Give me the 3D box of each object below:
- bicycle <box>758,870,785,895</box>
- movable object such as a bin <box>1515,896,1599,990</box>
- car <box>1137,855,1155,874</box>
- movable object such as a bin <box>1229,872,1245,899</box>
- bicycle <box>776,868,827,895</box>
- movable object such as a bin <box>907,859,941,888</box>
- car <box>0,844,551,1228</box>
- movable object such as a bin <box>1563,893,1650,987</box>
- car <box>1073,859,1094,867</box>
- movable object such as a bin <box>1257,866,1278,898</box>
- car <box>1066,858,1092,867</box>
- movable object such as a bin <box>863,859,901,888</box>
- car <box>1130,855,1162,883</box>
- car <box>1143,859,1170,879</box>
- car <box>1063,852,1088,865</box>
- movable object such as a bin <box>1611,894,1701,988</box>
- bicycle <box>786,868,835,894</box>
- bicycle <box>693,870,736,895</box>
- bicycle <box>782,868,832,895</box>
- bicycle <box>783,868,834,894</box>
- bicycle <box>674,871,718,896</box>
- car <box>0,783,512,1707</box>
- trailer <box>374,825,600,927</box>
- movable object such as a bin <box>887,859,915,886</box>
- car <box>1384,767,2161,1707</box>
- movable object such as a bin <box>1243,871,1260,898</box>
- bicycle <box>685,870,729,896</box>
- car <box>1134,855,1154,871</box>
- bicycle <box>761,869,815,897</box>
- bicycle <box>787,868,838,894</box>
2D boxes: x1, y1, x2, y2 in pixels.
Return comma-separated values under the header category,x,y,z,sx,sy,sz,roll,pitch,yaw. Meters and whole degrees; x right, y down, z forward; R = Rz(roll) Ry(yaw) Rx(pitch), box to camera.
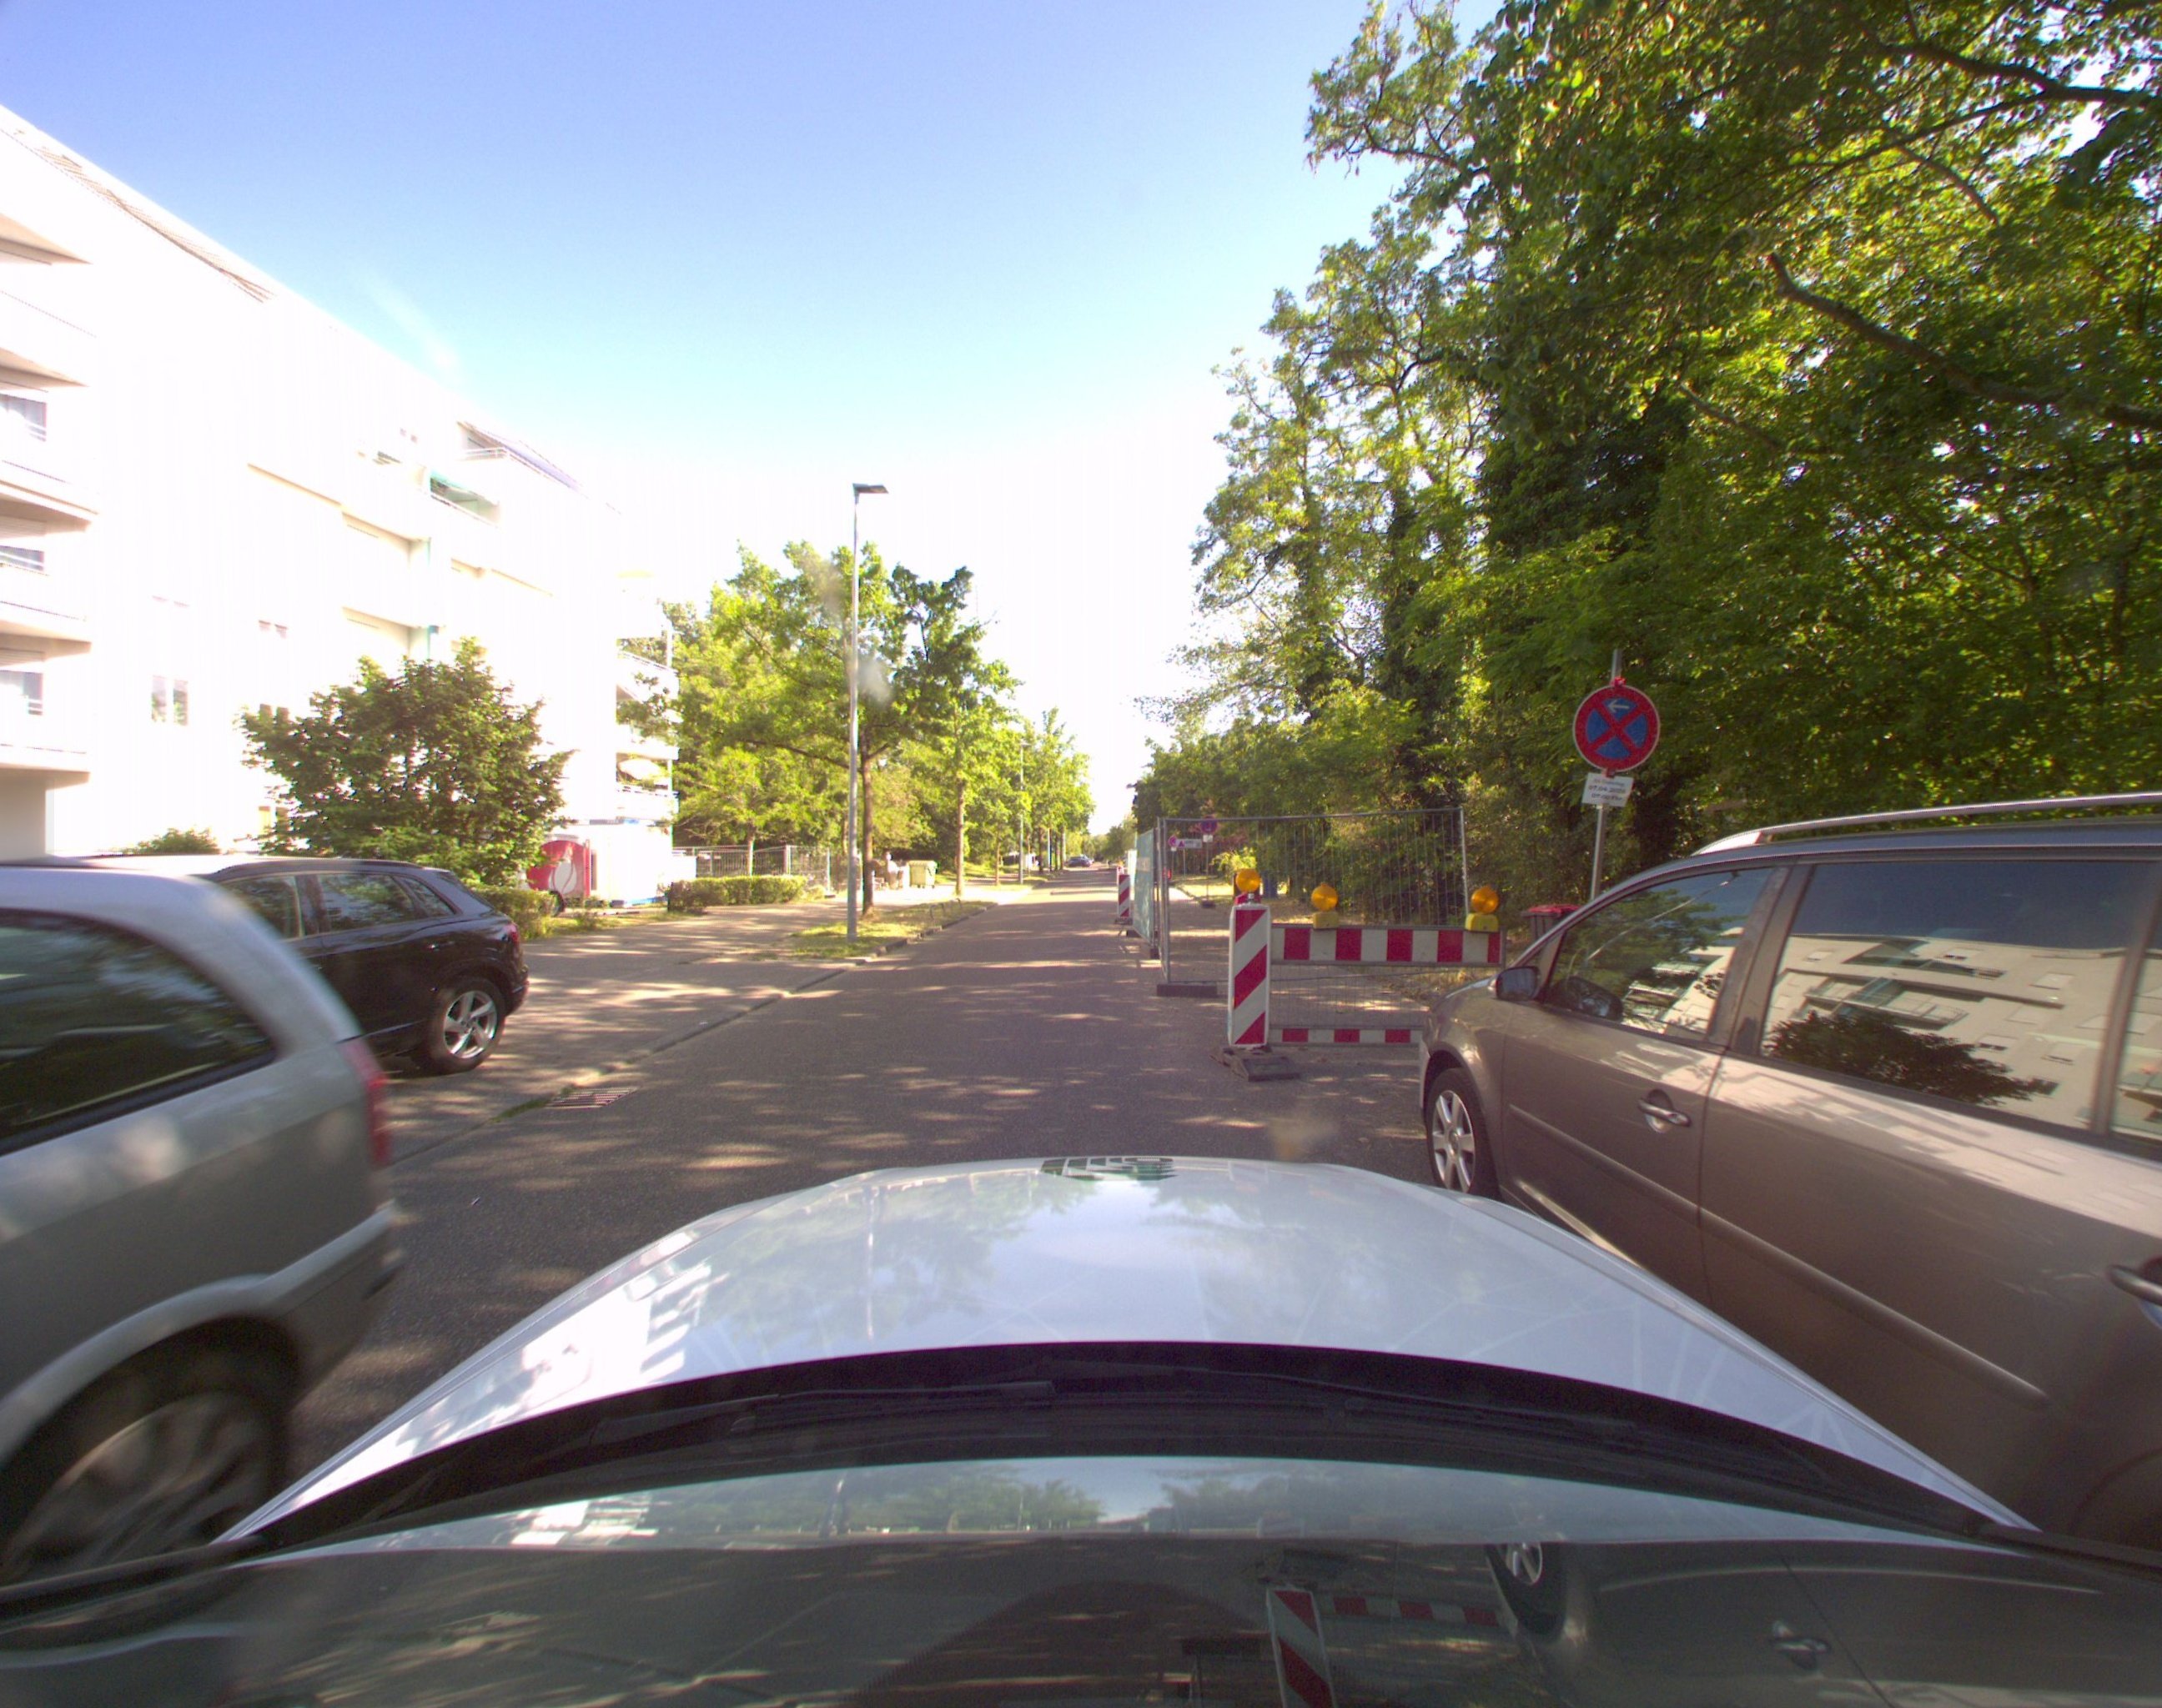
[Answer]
category,x,y,z,sx,sy,sz,roll,pitch,yaw
bicycle,-13.104,1.203,34.517,0.397,1.027,1.702,-1,-1,4
movable object such as a bin,4.640,0.853,7.962,0.482,0.861,0.559,0,-1,-1
car,6.501,1.035,81.873,1.617,1.773,3.671,1,0,2
movable object such as a bin,5.095,1.020,26.645,0.411,0.870,0.484,-3,-1,2
bicycle,-10.851,1.063,31.652,1.856,1.027,0.399,-1,-1,-11
movable object such as a bin,-8.201,1.021,42.576,1.259,1.435,1.187,-1,-1,18
car,-5.420,0.768,4.727,1.769,1.621,4.222,1,0,2
movable object such as a bin,5.129,0.828,7.976,0.482,0.861,0.559,0,-1,-1
car,0.487,1.739,163.507,4.088,1.576,1.960,1,0,4
movable object such as a bin,6.096,0.908,26.604,0.516,0.999,0.608,-3,-1,2
car,-0.321,1.534,147.212,4.293,1.576,2.051,1,0,8
movable object such as a bin,-10.132,0.981,41.432,1.257,1.435,1.334,-1,-1,30
car,4.105,0.926,50.793,1.801,1.651,4.428,1,0,6
car,5.303,1.022,57.316,1.655,1.375,4.156,1,0,2
car,-1.120,0.988,172.512,5.188,2.621,2.291,1,-1,-3
movable object such as a bin,5.623,0.834,7.988,0.482,0.861,0.559,0,-1,-1
bicycle,-10.956,1.085,33.023,1.838,1.027,0.399,-1,-1,-11
bicycle,-15.618,1.230,34.733,1.686,1.027,0.401,-1,-1,7
bicycle,-10.807,1.071,32.125,1.838,1.027,0.399,-1,-1,-11
bicycle,-10.898,1.081,32.599,1.859,1.027,0.399,-1,-1,-11
bicycle,-15.832,1.209,33.508,1.686,1.027,0.401,-1,-1,7
car,-2.554,0.713,0.369,1.653,1.596,4.009,-2,-1,1
trailer,-13.892,0.474,19.441,1.854,2.120,4.353,1,0,6
movable object such as a bin,-9.771,1.006,44.205,1.149,1.435,1.260,-1,-1,-32
car,2.390,0.694,2.227,1.673,1.621,4.138,0,0,1
movable object such as a bin,5.586,0.998,26.699,0.411,0.870,0.484,-3,-1,2
bicycle,-15.698,1.212,34.181,1.686,1.027,0.401,-1,-1,7
car,7.144,1.016,93.042,1.786,1.785,4.554,1,0,-1
bicycle,-11.022,1.075,30.714,1.869,1.027,0.399,-1,-1,-11
bicycle,-11.035,1.095,33.490,1.915,1.027,0.399,-1,-1,-11
